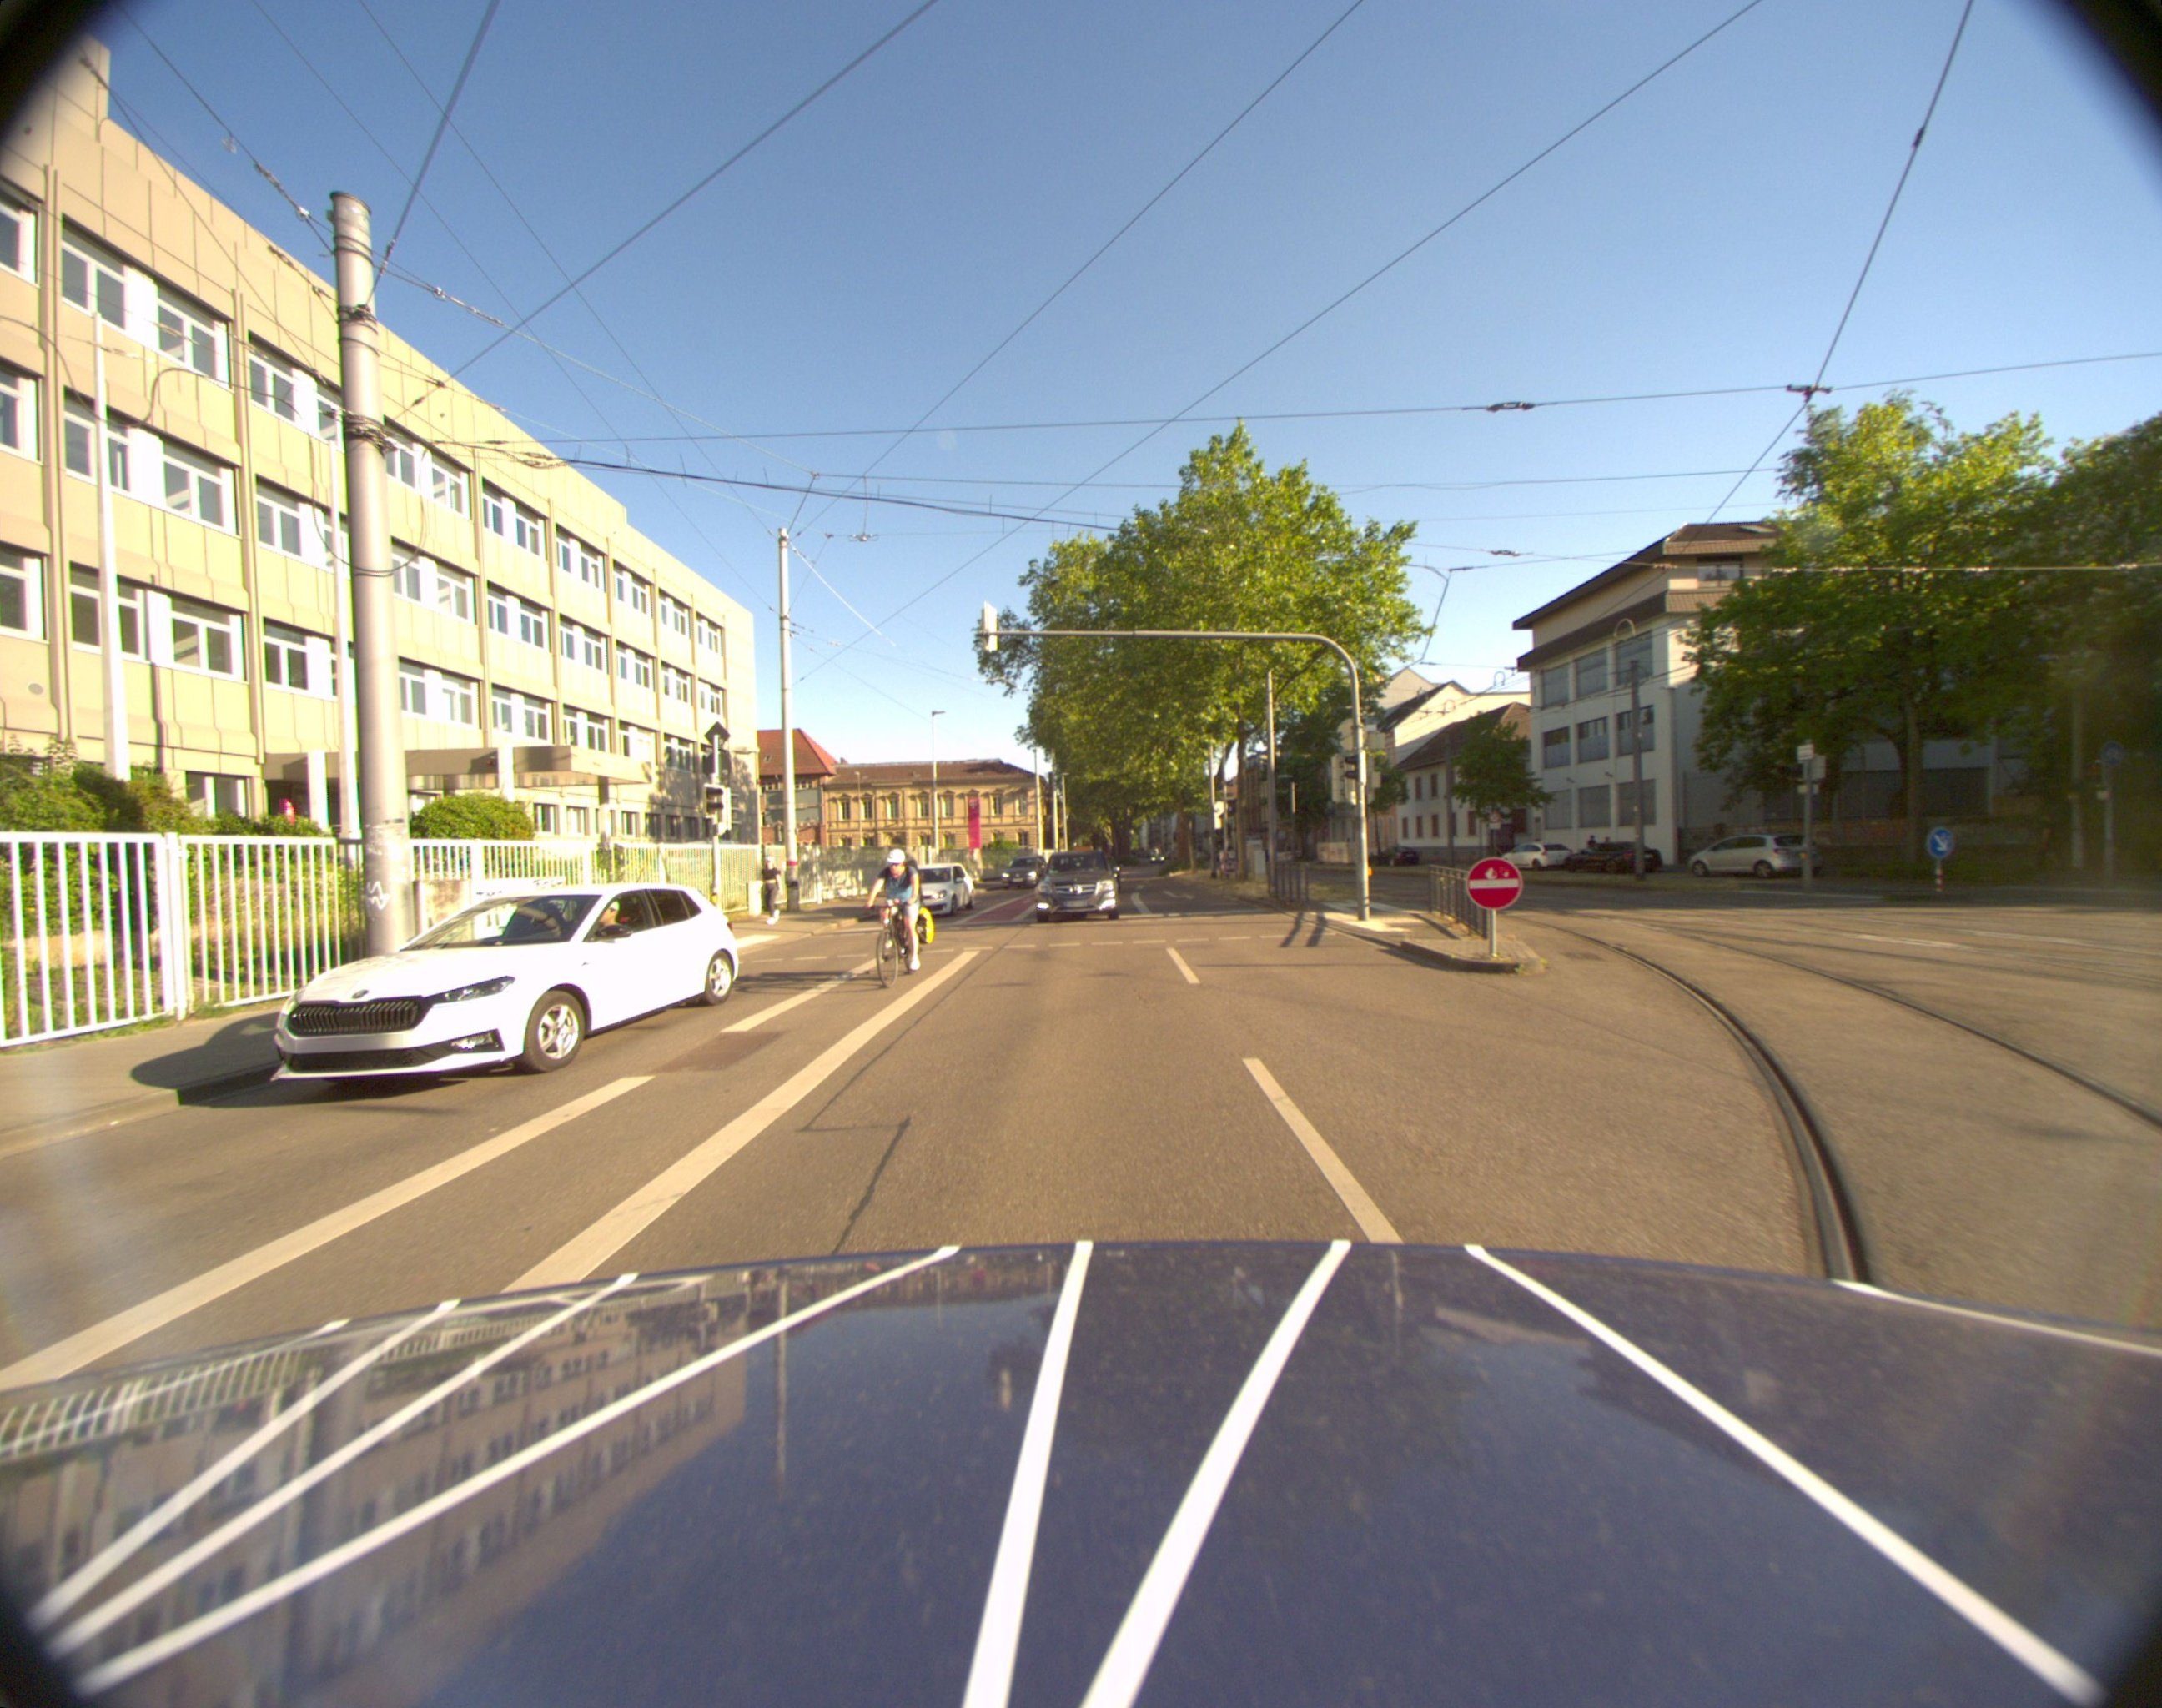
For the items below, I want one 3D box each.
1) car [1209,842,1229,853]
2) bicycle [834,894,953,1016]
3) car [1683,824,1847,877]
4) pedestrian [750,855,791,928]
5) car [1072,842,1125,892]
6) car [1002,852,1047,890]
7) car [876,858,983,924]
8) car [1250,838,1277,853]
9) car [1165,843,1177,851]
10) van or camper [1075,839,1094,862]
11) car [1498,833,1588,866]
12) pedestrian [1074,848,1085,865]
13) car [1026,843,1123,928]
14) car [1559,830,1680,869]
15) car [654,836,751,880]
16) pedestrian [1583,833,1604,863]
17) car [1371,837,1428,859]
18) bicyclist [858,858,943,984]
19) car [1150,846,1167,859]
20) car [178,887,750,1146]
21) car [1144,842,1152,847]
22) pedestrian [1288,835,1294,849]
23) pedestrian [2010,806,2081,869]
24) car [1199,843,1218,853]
[{"bbox_3d":[21.952,-1.007,121.168,2.087,1.531,4.515,-5,1,-2],"label":"car"},{"bbox_3d":[-2.183,1.140,9.233,0.764,1.138,2.307,-2,1,2],"label":"bicycle"},{"bbox_3d":[24.521,-0.138,27.483,2.087,1.610,4.097,-5,1,-2],"label":"car"},{"bbox_3d":[-7.735,0.911,18.937,0.592,1.752,0.770,-2,1,5],"label":"pedestrian"},{"bbox_3d":[0.665,0.454,29.724,1.793,1.694,4.300,-5,1,1],"label":"car"},{"bbox_3d":[-2.832,0.827,38.673,1.793,1.634,4.300,-5,1,1],"label":"car"},{"bbox_3d":[-4.219,0.964,21.841,1.792,1.494,4.302,-4,1,5],"label":"car"},{"bbox_3d":[23.578,-1.084,98.276,2.087,1.664,4.531,-5,1,-2],"label":"car"},{"bbox_3d":[21.884,-1.700,184.755,2.087,1.531,4.119,-5,1,-2],"label":"car"},{"bbox_3d":[0.390,-0.437,88.670,1.998,2.578,5.625,-3,1,1],"label":"van or camper"},{"bbox_3d":[24.155,-0.261,39.937,2.087,1.481,3.996,-5,1,-2],"label":"car"},{"bbox_3d":[-0.168,0.211,67.912,0.898,1.464,0.810,-2,1,2],"label":"pedestrian"},{"bbox_3d":[-0.060,0.621,18.018,1.908,1.634,4.516,-4,1,2],"label":"car"},{"bbox_3d":[24.153,-0.222,34.307,2.087,1.493,4.456,-5,1,-2],"label":"car"},{"bbox_3d":[-17.348,0.132,35.120,1.998,1.832,4.785,-2,1,1],"label":"car"},{"bbox_3d":[26.628,-0.332,39.475,0.537,1.519,0.711,-2,1,-7],"label":"pedestrian"},{"bbox_3d":[23.773,-0.446,56.928,2.087,1.462,4.578,-5,1,-2],"label":"car"},{"bbox_3d":[-2.183,0.787,9.270,0.727,1.414,0.859,-3,1,2],"label":"bicyclist"},{"bbox_3d":[11.290,-0.218,110.259,1.998,1.762,3.999,-3,1,0],"label":"car"},{"bbox_3d":[-4.853,1.138,6.914,1.705,1.381,4.075,-3,1,2],"label":"car"},{"bbox_3d":[21.711,-3.016,247.426,2.087,1.531,4.126,-5,1,-2],"label":"car"},{"bbox_3d":[26.904,-1.522,97.463,0.561,1.798,0.705,-2,1,0],"label":"pedestrian"},{"bbox_3d":[27.559,-0.460,21.732,0.736,1.742,1.019,-2,1,-2],"label":"pedestrian"},{"bbox_3d":[22.480,-1.024,134.280,2.087,1.531,5.103,-5,1,-2],"label":"car"}]
